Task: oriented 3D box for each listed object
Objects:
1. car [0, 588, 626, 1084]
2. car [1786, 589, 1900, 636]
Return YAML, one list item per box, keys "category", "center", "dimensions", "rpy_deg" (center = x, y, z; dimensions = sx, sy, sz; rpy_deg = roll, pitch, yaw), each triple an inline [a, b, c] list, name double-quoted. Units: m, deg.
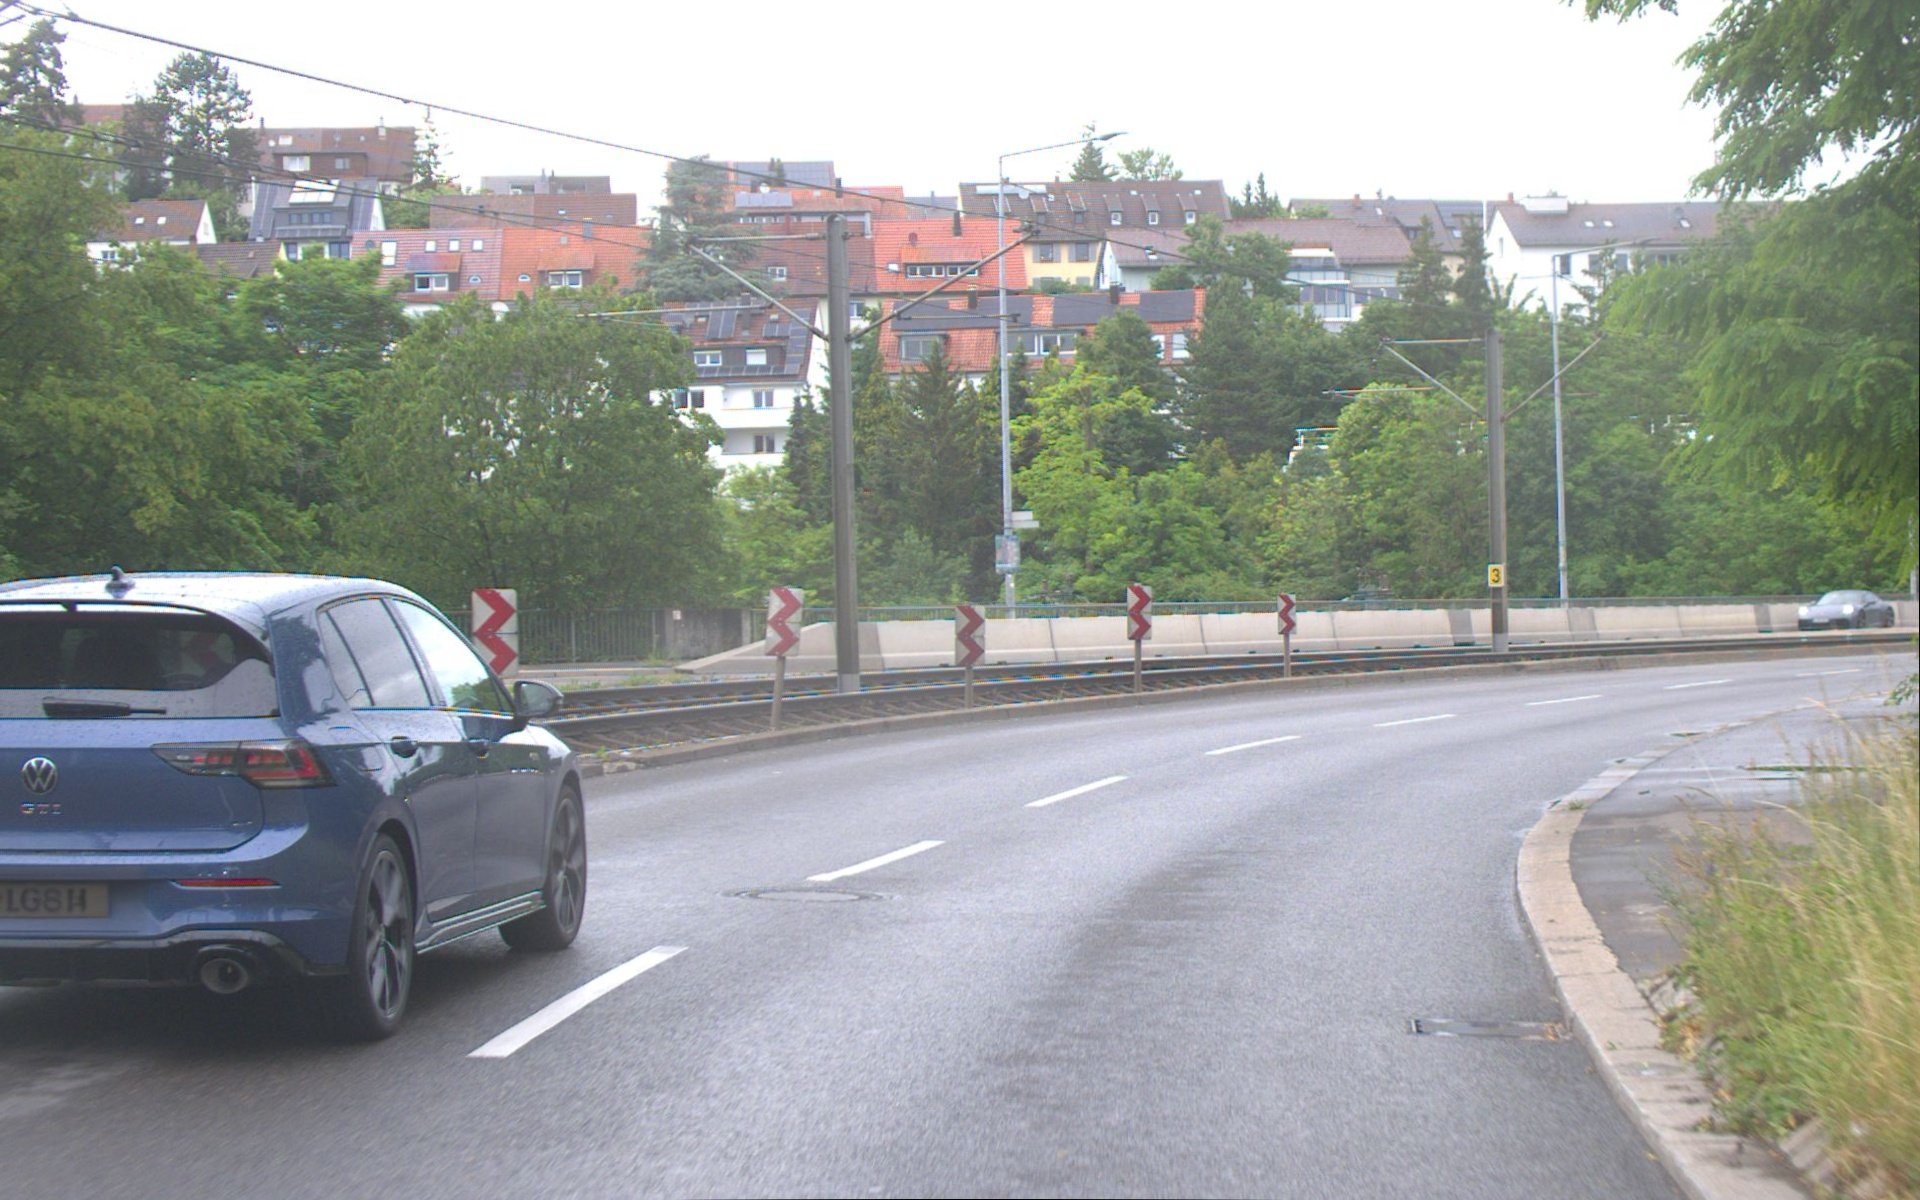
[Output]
- category: "car"
  center: [-2.481, 0.658, 11.971]
  dimensions: [1.808, 1.374, 4.346]
  rpy_deg: [1, 0, 6]
- category: "car"
  center: [26.581, 0.352, 103.416]
  dimensions: [1.997, 1.361, 4.183]
  rpy_deg: [0, 0, 34]
